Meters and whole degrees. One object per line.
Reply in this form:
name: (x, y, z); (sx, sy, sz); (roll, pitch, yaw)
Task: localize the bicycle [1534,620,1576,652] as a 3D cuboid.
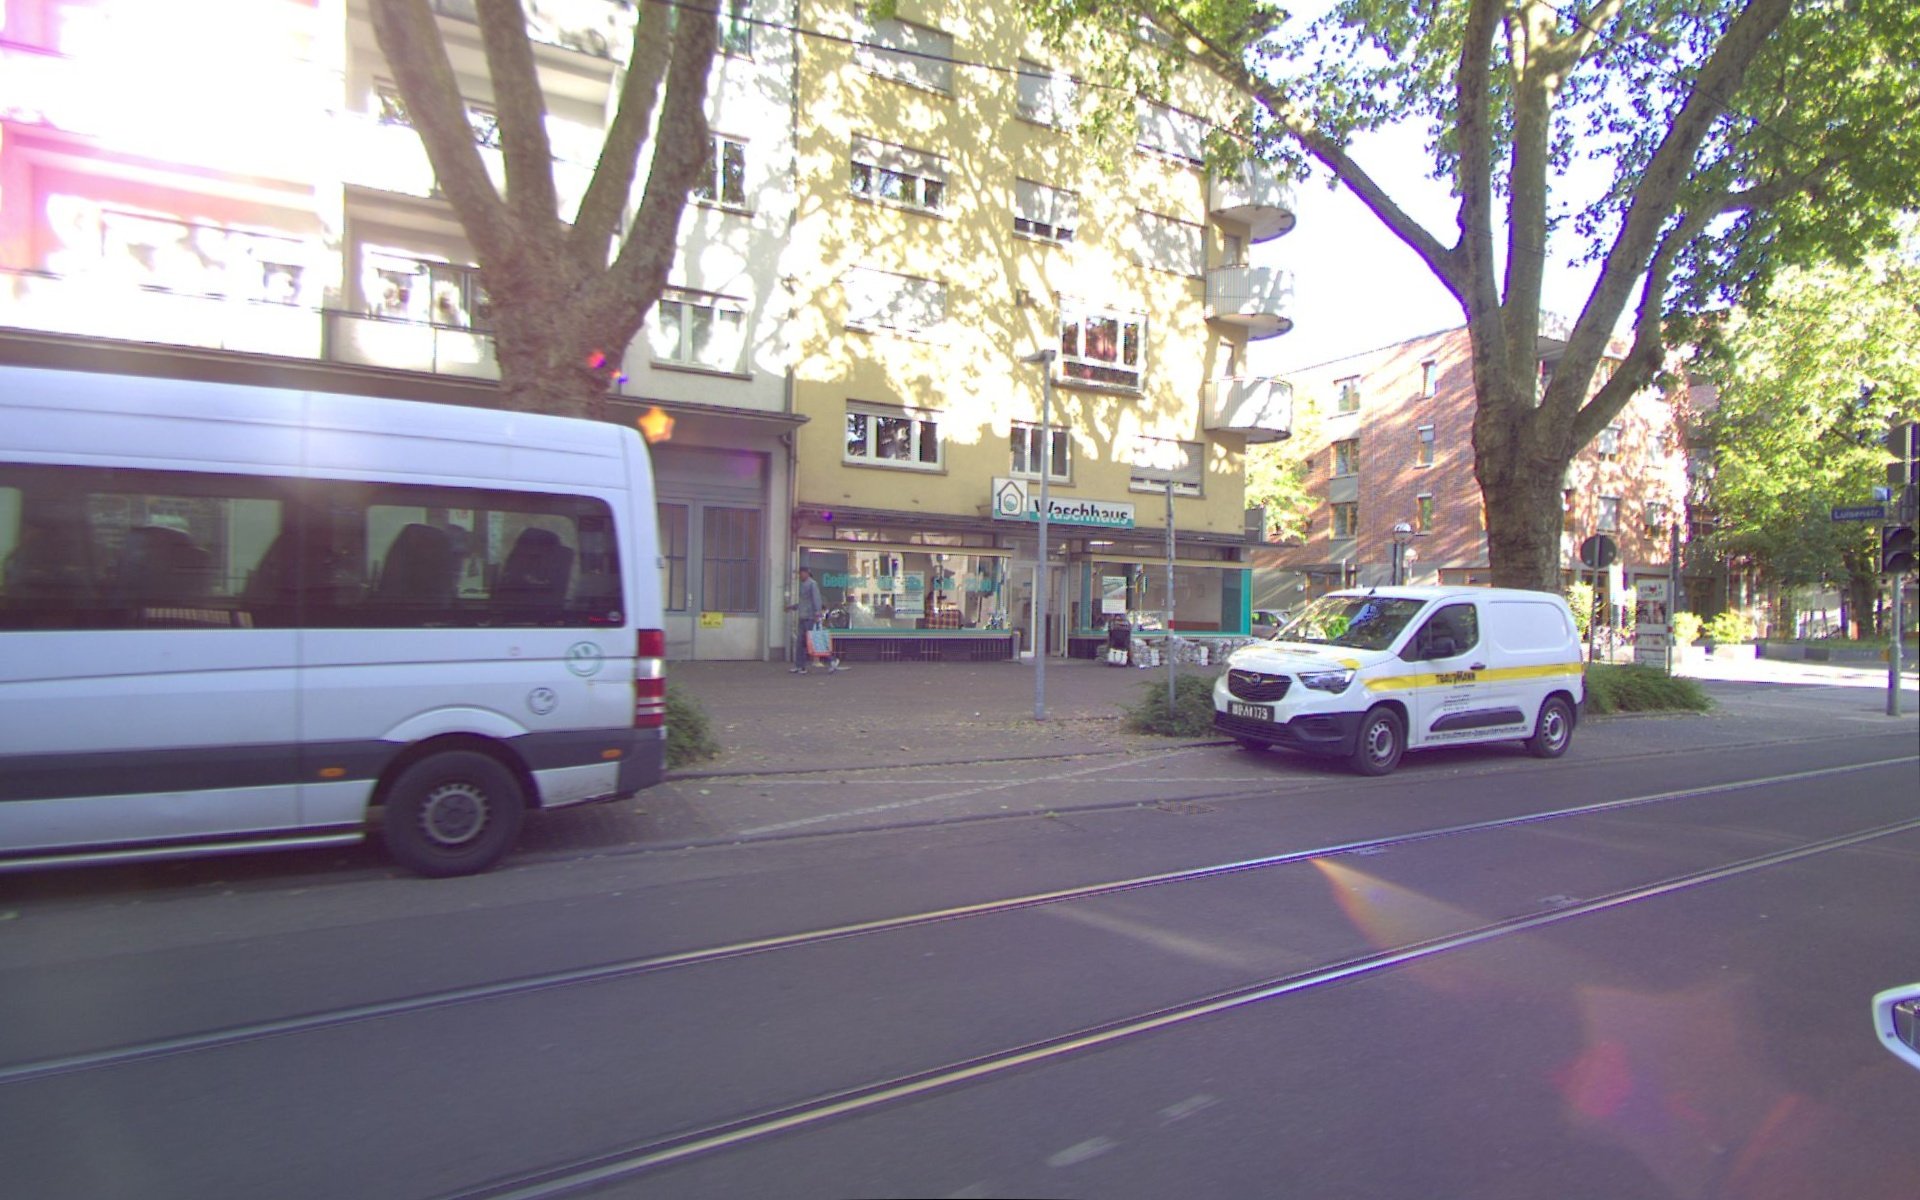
bicycle: (21.231, 1.272, 35.826); (1.618, 1.099, 0.539); (0, 2, -29)

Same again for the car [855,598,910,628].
car: (-4.821, 0.778, 62.042); (1.975, 1.706, 3.970); (2, 1, -28)

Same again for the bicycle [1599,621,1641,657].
bicycle: (22.146, 1.298, 33.695); (1.518, 1.099, 0.539); (-1, 2, -29)

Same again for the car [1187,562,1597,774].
car: (4.653, 0.642, 10.684); (4.267, 1.875, 1.755); (2, 1, -30)

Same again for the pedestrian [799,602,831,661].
pedestrian: (-2.829, 0.614, 19.560); (0.434, 1.120, 0.417); (1, 1, -38)

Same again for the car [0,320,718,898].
car: (-4.581, 0.031, 5.588); (5.944, 2.612, 2.101); (2, 1, -26)

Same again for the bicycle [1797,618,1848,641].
bicycle: (44.871, 1.541, 52.242); (0.760, 1.087, 1.921); (1, 1, -43)

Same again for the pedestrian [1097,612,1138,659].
pedestrian: (3.654, 0.817, 23.293); (0.702, 1.061, 0.576); (2, 1, -29)

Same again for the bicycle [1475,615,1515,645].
bicycle: (20.182, 1.130, 37.884); (1.619, 1.099, 0.539); (0, 1, -29)

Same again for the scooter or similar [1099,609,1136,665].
scooter or similar: (3.493, 0.811, 22.277); (0.662, 1.183, 0.644); (2, 1, -1)

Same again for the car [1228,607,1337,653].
car: (12.926, 1.177, 40.484); (1.936, 1.684, 3.970); (2, 0, -28)

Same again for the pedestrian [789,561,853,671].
pedestrian: (-2.468, 0.272, 17.837); (0.853, 1.894, 0.741); (2, 1, -30)

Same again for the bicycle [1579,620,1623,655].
bicycle: (21.860, 1.272, 34.250); (1.618, 1.099, 0.539); (-1, 2, -29)
